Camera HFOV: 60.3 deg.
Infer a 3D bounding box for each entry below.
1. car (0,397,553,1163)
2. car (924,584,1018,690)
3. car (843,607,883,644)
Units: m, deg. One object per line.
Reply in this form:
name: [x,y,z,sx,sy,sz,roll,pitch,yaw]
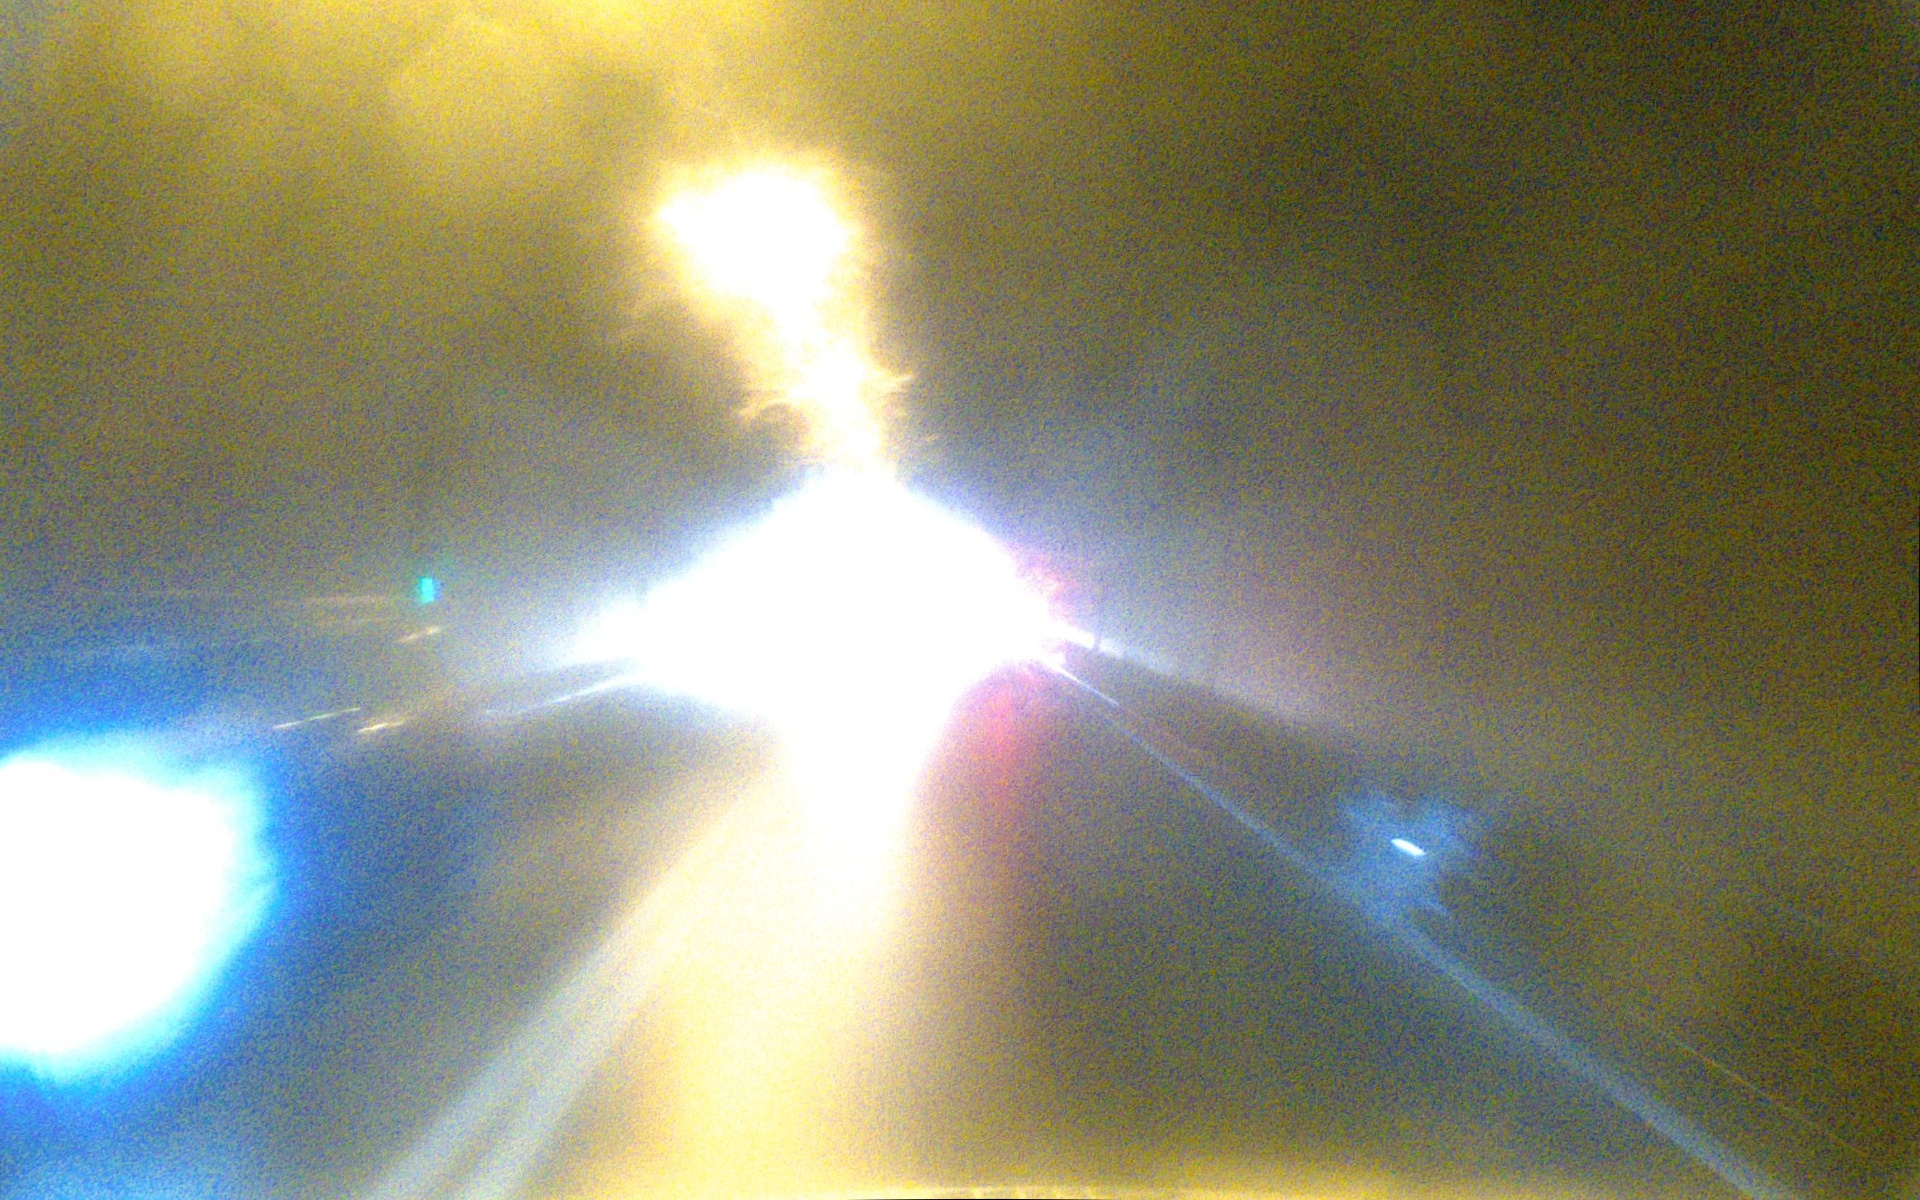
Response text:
car: [-3.017,0.434,6.468,1.725,1.933,4.608,-1,1,0]
car: [0.169,0.616,30.540,1.602,1.788,4.145,-1,1,0]
car: [-4.401,1.123,75.382,1.602,1.561,3.645,-1,1,-1]
